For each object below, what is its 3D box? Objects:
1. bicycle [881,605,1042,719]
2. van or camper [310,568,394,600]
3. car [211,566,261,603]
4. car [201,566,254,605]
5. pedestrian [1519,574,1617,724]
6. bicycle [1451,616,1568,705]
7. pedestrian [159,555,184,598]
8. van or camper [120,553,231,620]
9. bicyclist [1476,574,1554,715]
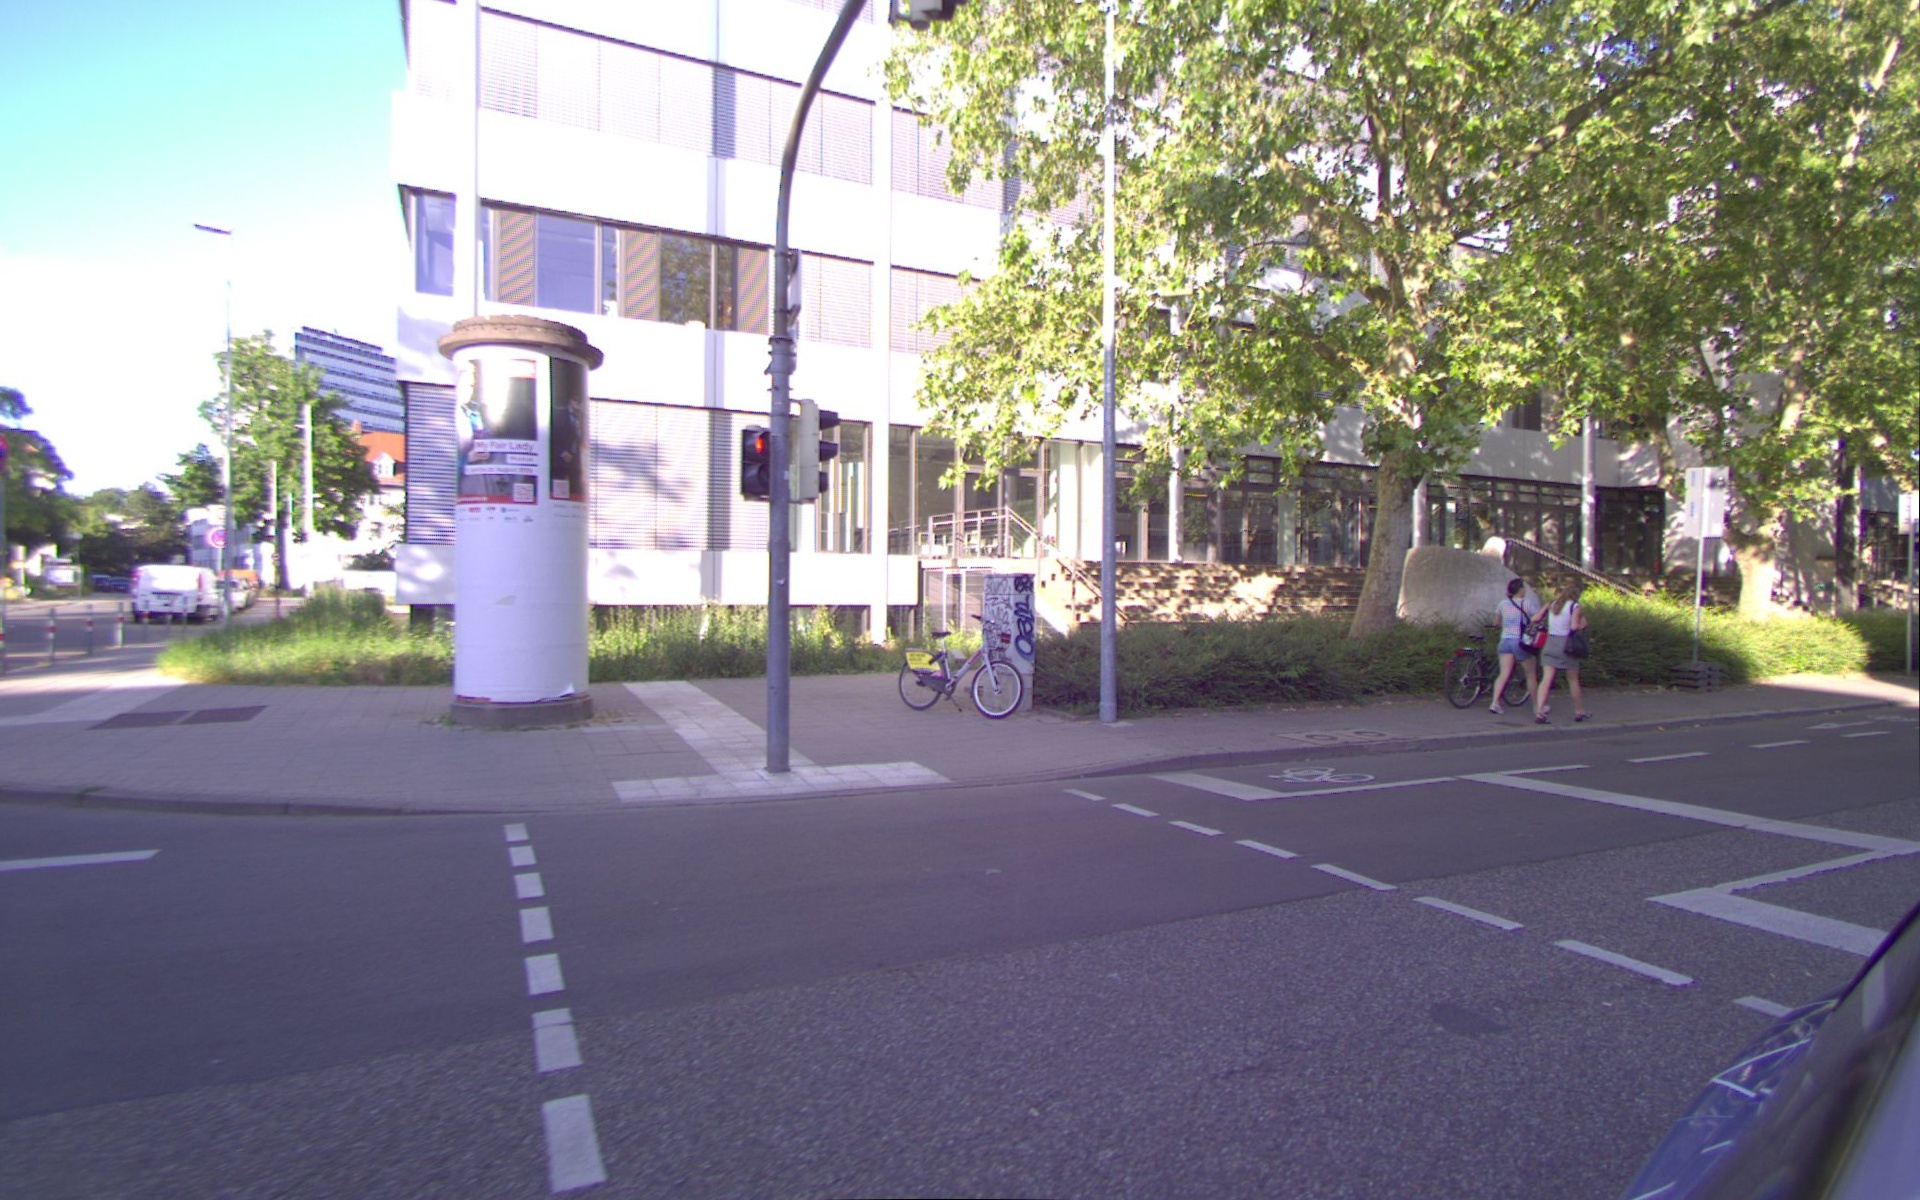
[{"bbox_3d":[-0.012,0.686,11.815,1.979,1.197,0.465,1,1,34],"label":"bicycle"},{"bbox_3d":[-40.672,-1.070,67.764,4.647,2.113,1.998,-1,1,-39],"label":"van or camper"},{"bbox_3d":[-42.803,-0.884,59.922,1.960,2.039,4.004,0,-1,-29],"label":"car"},{"bbox_3d":[-40.529,-0.814,56.068,1.960,2.039,4.005,0,1,-29],"label":"car"},{"bbox_3d":[7.399,0.561,12.328,0.678,1.740,0.777,-2,2,-27],"label":"pedestrian"},{"bbox_3d":[7.102,0.755,13.060,1.614,1.047,0.523,0,0,-28],"label":"bicycle"},{"bbox_3d":[-62.761,-1.883,80.562,1.402,3.350,1.436,0,0,44],"label":"pedestrian"},{"bbox_3d":[-25.824,-0.454,33.502,2.119,2.039,4.983,0,1,-29],"label":"van or camper"},{"bbox_3d":[7.147,0.542,13.040,0.641,1.734,0.636,-2,2,-27],"label":"bicyclist"}]
